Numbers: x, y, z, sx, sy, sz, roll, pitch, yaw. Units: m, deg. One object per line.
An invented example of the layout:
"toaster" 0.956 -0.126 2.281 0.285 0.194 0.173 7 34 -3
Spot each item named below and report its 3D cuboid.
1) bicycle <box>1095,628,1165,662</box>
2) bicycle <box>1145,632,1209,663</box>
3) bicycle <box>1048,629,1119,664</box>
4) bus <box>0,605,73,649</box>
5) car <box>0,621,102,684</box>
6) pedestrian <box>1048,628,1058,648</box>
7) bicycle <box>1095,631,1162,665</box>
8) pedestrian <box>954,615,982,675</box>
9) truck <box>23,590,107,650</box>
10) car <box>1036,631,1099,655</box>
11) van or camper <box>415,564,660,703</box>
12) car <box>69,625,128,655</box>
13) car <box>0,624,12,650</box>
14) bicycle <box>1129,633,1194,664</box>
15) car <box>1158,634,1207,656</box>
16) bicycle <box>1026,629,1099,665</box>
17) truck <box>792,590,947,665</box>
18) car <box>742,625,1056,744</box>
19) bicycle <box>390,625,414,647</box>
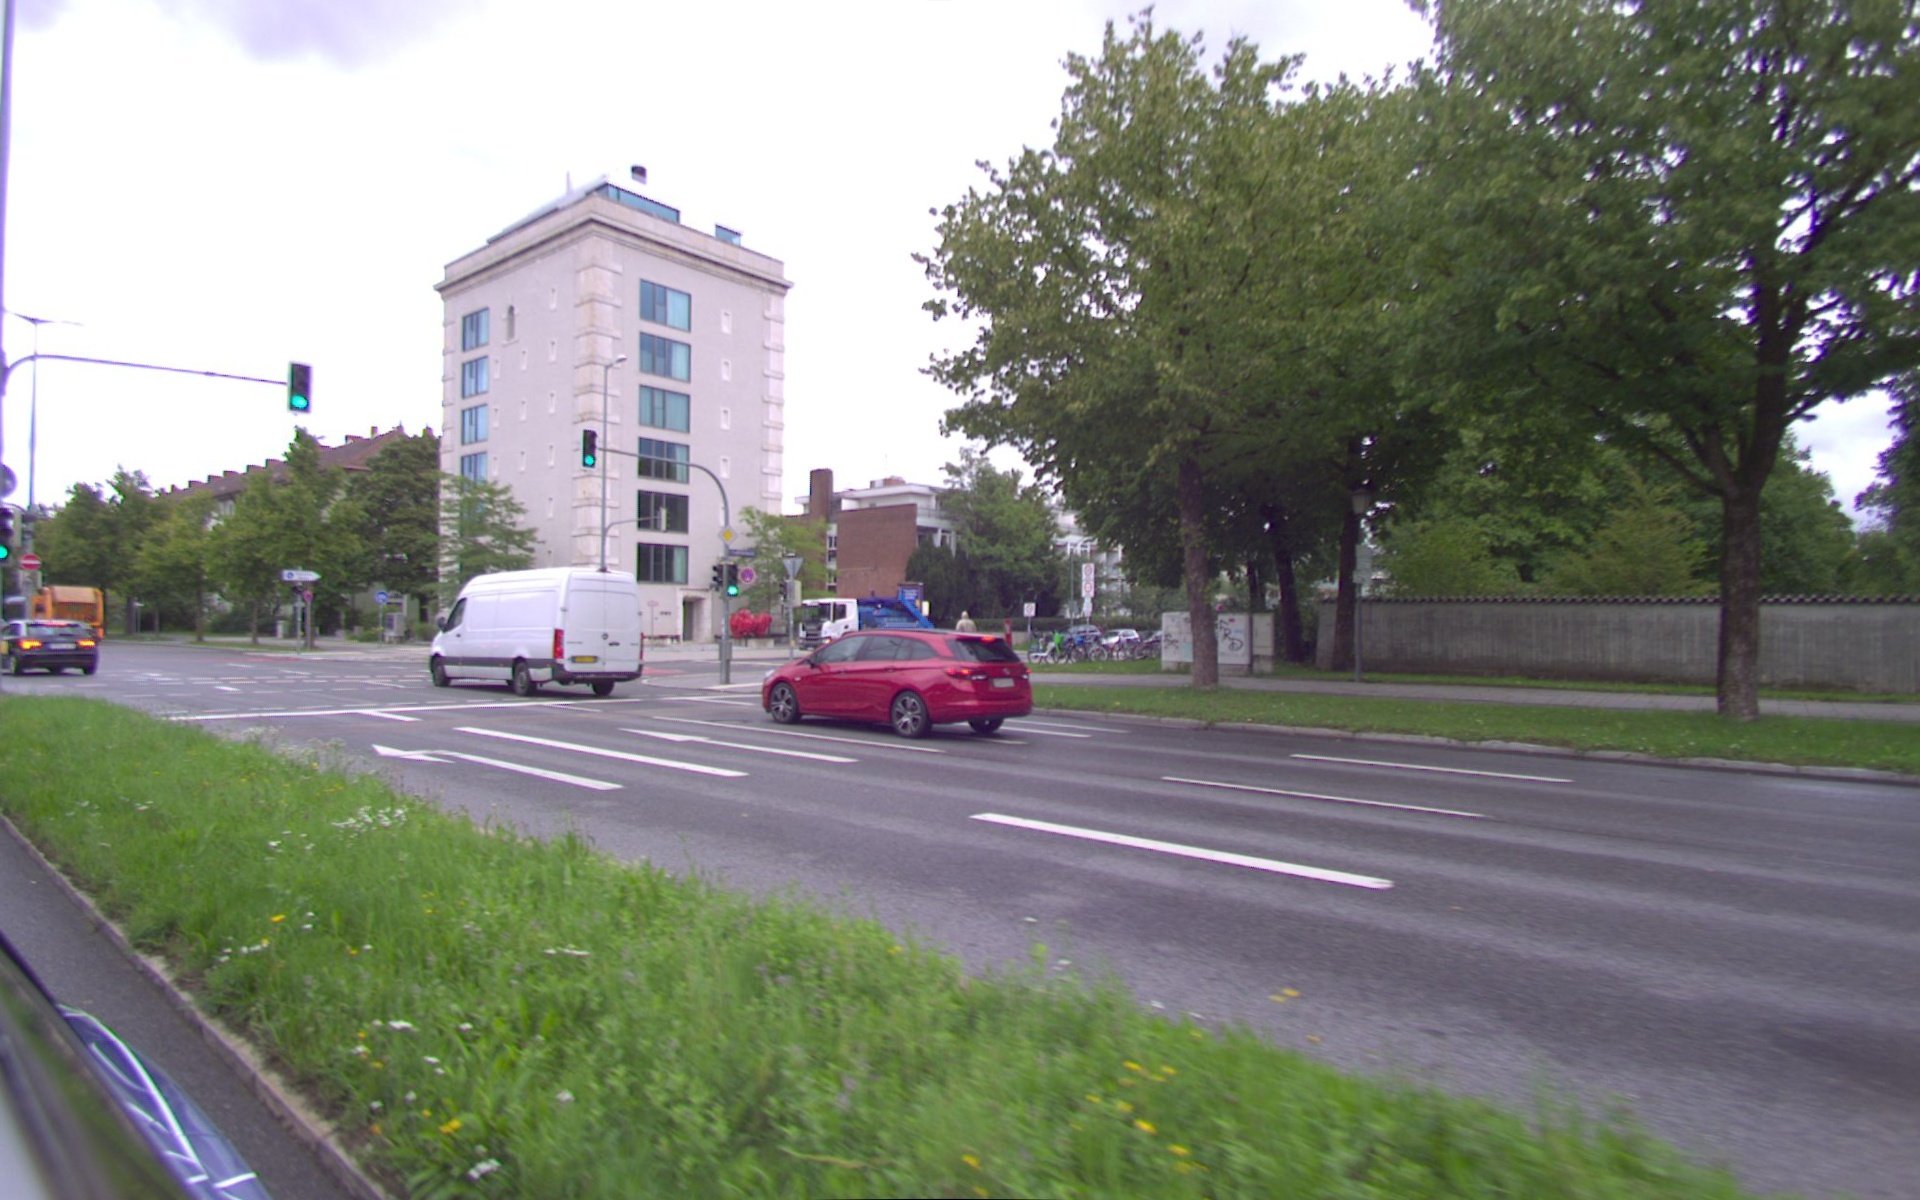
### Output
"bicycle" 6.234 1.651 37.253 2.494 1.195 0.827 -1 -2 40
"bicycle" 8.886 1.933 41.501 2.494 1.195 0.827 -1 -2 40
"bicycle" 4.406 1.661 36.330 2.494 1.195 0.827 -1 -2 40
"bus" -75.921 2.193 83.046 12.037 3.369 2.718 -1 -3 40
"car" -23.845 1.304 26.116 3.771 1.498 1.626 -1 -2 34
"pedestrian" 6.863 2.815 74.906 0.543 1.425 0.597 -1 -2 30
"bicycle" 6.685 1.901 40.242 2.494 1.195 0.827 1 -4 40
"pedestrian" 0.230 1.312 29.807 0.516 1.753 0.701 -1 -2 36
"truck" -53.769 1.219 60.730 7.261 3.382 2.752 -1 -2 41
"car" 7.002 2.775 65.636 1.927 1.427 4.154 -1 -2 44
"van or camper" -9.535 0.742 22.423 6.948 2.667 2.155 -1 -4 42
"car" -43.683 1.999 51.291 4.214 1.427 1.705 -1 -3 42
"car" -58.015 2.217 60.311 4.739 1.498 1.709 -1 -2 41
"bicycle" 8.101 1.938 40.765 2.494 1.195 0.827 -1 -2 40
"car" 17.082 3.440 77.636 1.926 1.603 4.158 -1 -2 40
"bicycle" 3.553 1.626 35.199 2.494 1.195 0.827 -1 -2 40
"truck" -4.448 1.358 51.025 7.703 3.515 2.775 1 -2 -42
"car" -1.015 1.133 14.692 4.655 1.463 1.725 -1 -4 41
"bicycle" -30.676 1.969 55.628 1.825 1.190 0.539 -1 -2 40
